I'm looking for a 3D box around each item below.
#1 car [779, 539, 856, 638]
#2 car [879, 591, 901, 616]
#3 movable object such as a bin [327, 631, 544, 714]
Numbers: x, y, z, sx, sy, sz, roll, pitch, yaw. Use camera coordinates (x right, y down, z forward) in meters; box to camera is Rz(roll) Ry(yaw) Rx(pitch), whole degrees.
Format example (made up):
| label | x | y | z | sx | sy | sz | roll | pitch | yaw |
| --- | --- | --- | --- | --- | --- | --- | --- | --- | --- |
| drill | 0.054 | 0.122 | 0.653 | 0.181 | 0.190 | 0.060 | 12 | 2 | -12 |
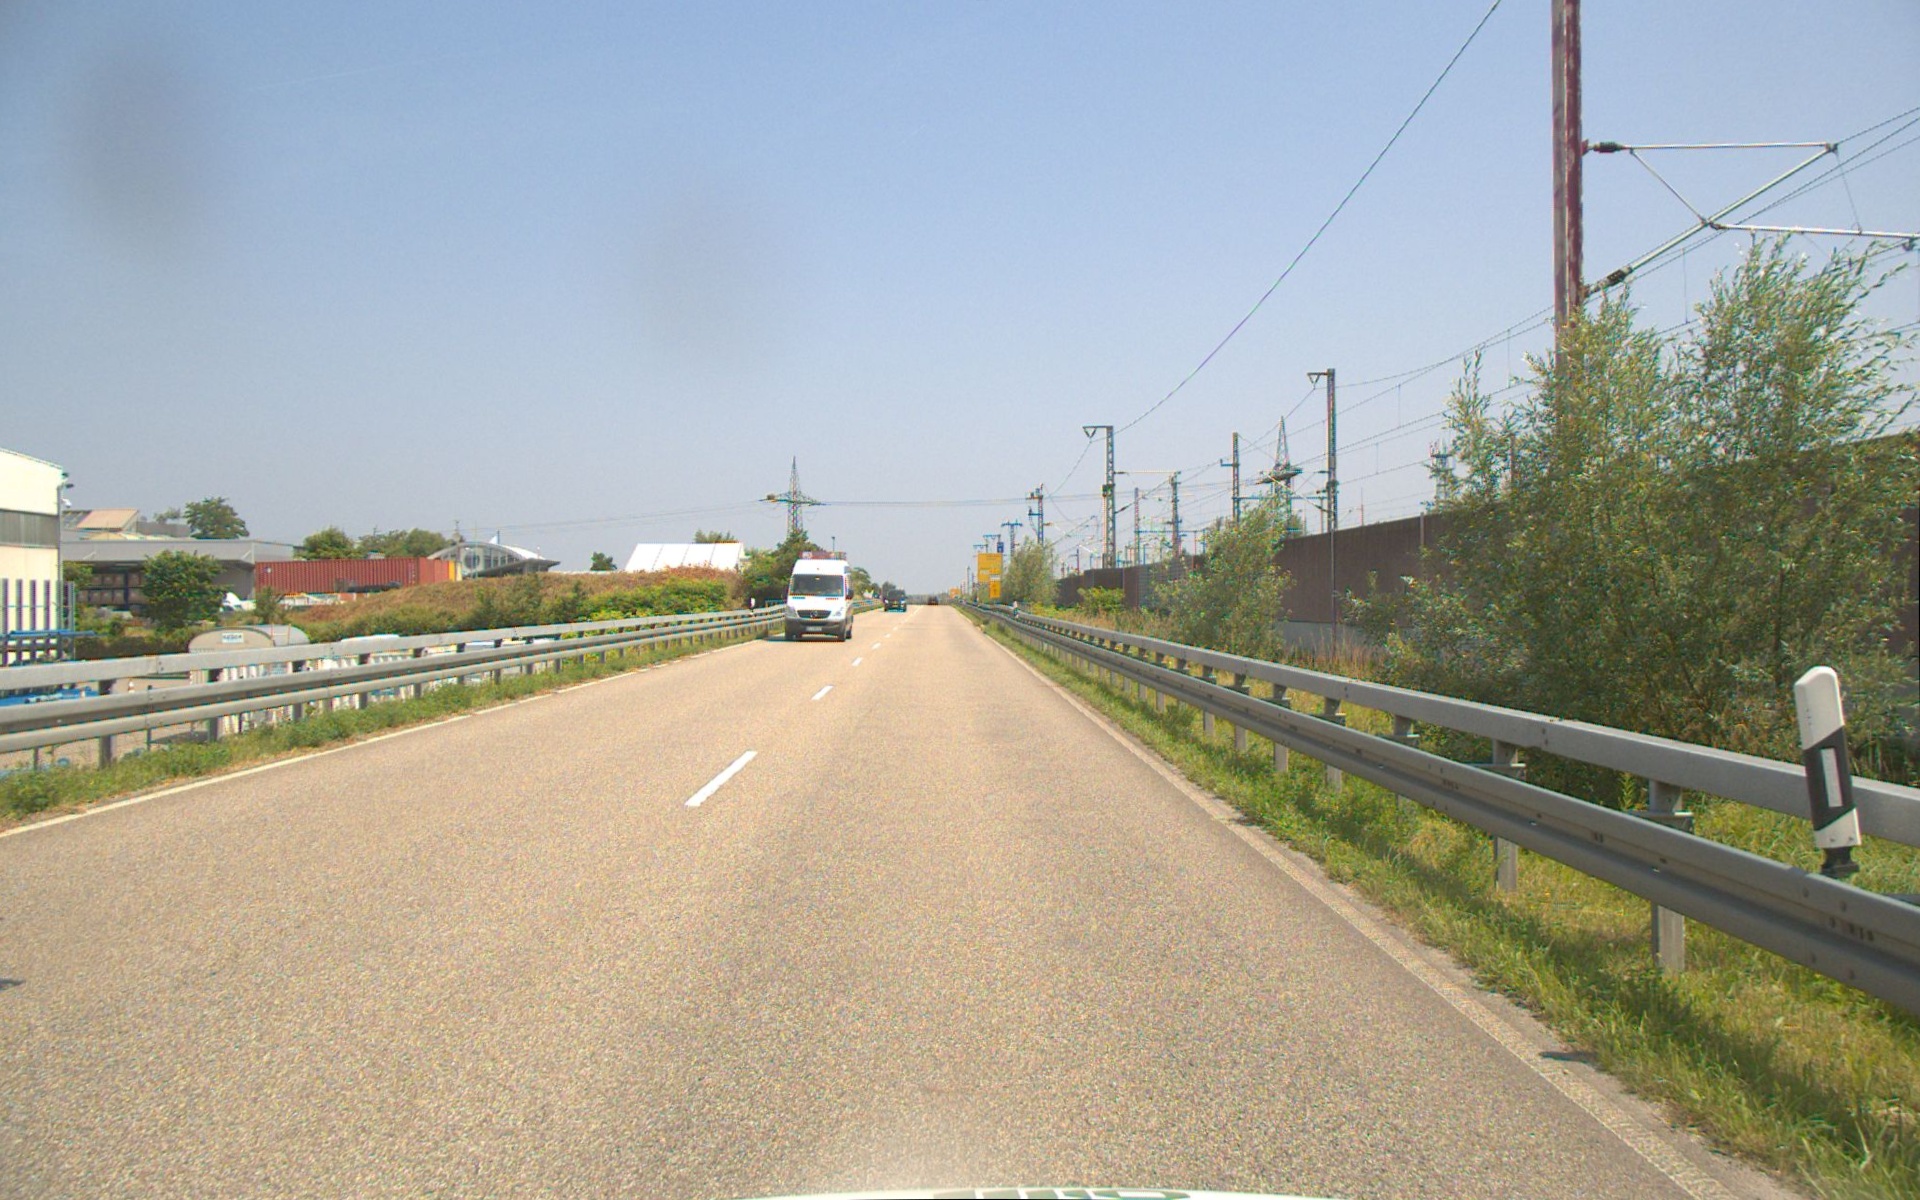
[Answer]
| label | x | y | z | sx | sy | sz | roll | pitch | yaw |
| --- | --- | --- | --- | --- | --- | --- | --- | --- | --- |
| car | -4.608 | -0.344 | 54.554 | 2.037 | 3.014 | 6.728 | 1 | 0 | -1 |
| car | -6.053 | 0.317 | 143.494 | 1.855 | 2.049 | 5.368 | 1 | 0 | -1 |
| movable object such as a bin | -15.740 | 2.166 | 49.991 | 5.783 | 2.054 | 2.446 | -3 | 0 | -7 |
